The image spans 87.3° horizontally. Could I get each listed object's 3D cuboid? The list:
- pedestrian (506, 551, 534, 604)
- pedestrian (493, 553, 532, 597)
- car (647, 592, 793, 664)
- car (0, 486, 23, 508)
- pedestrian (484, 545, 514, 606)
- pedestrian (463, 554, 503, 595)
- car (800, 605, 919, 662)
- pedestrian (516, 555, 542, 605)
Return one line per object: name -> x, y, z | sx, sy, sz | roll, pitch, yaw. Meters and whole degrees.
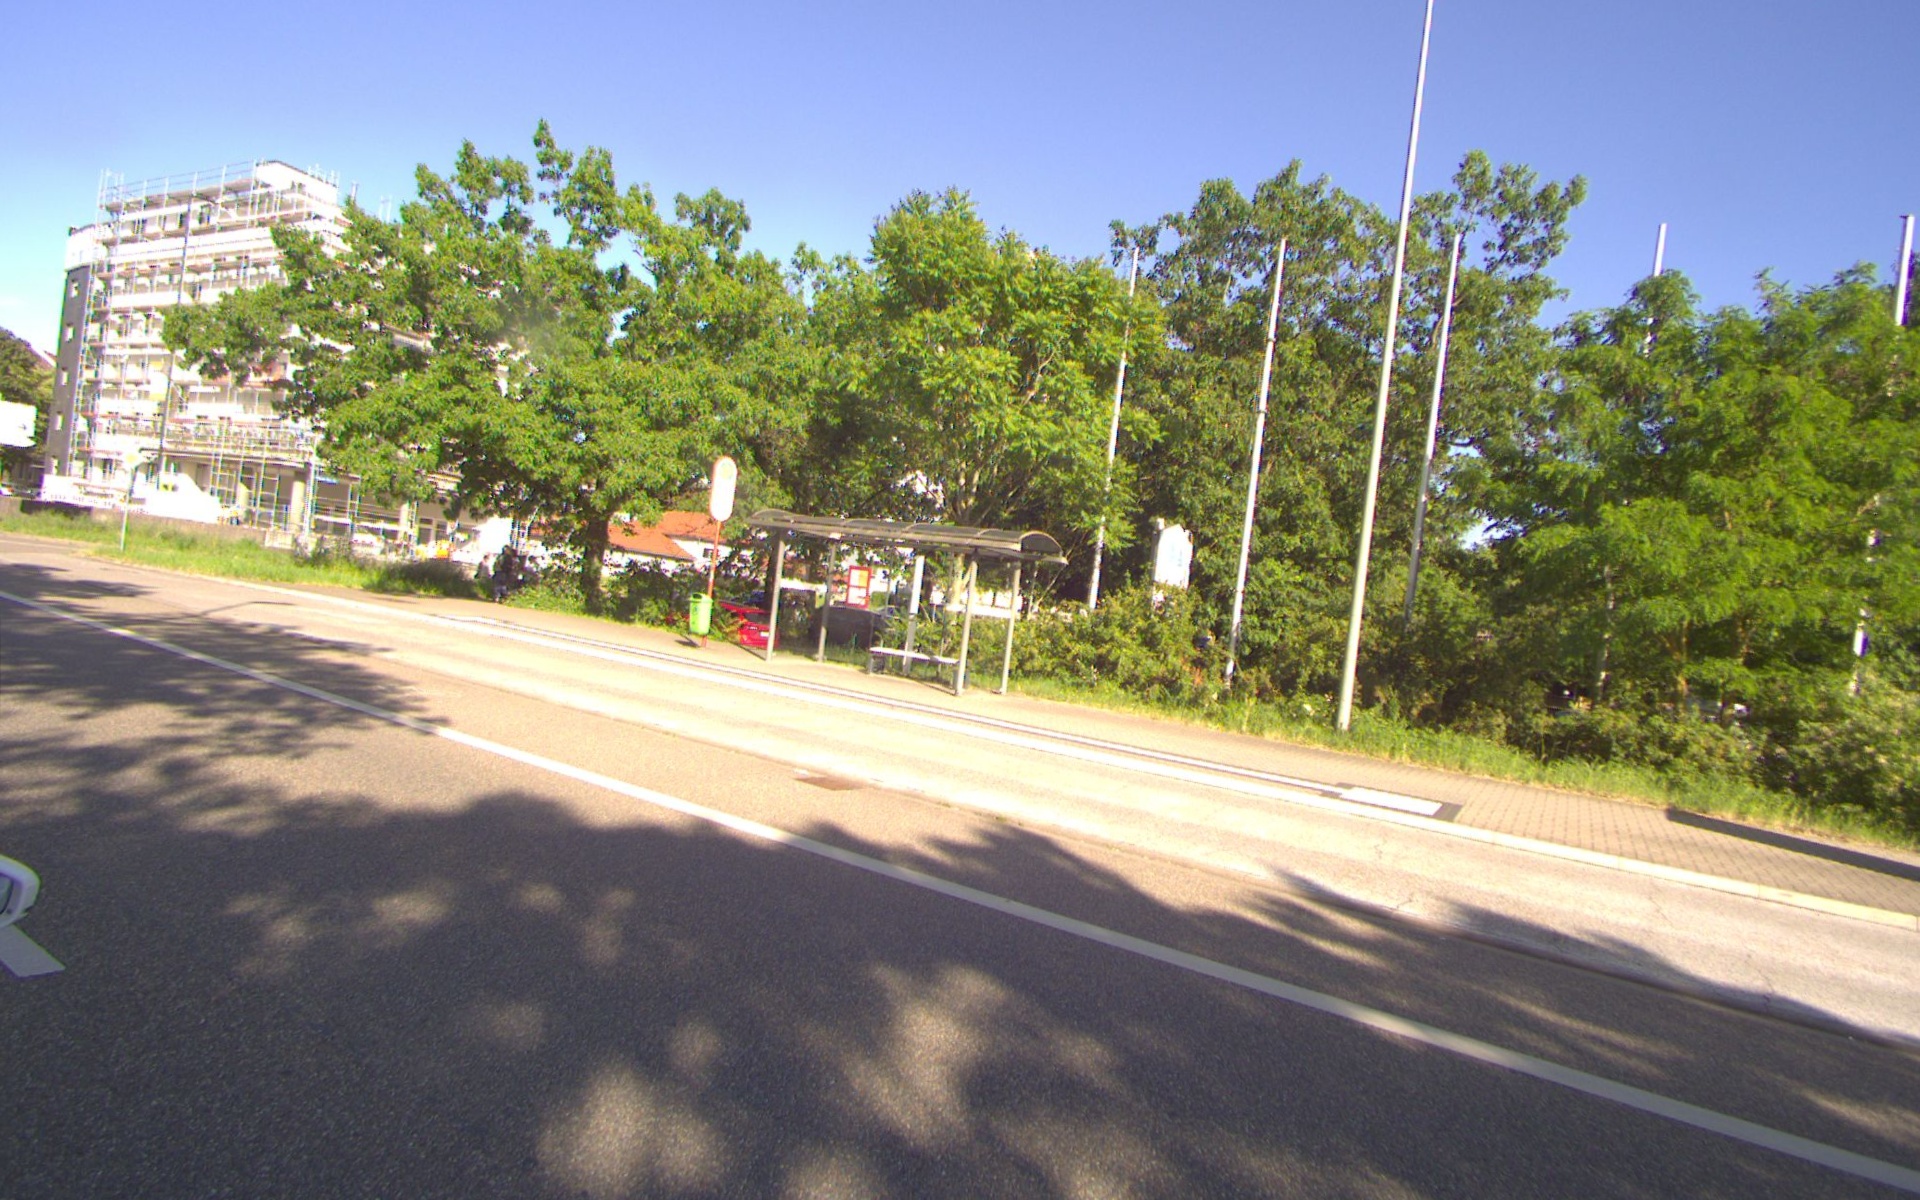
pedestrian -> -12.744, -0.647, 29.145 | 0.517, 1.465, 0.587 | 7, 1, -32
pedestrian -> -18.549, -1.038, 41.680 | 0.969, 1.674, 0.891 | 7, 0, 16
car -> -6.866, 0.797, 28.744 | 3.680, 1.504, 1.755 | 7, 0, 28
car -> -66.603, -7.207, 70.159 | 1.521, 1.330, 3.250 | 7, 0, -40
pedestrian -> -13.023, -0.699, 28.416 | 0.517, 1.632, 0.587 | 7, 1, -32
pedestrian -> -19.189, -1.026, 40.455 | 0.948, 1.465, 0.895 | 7, 0, 17
car -> -3.579, 1.183, 35.977 | 3.674, 1.504, 1.914 | 7, 0, 13
pedestrian -> -13.398, -0.630, 31.295 | 0.517, 1.465, 0.587 | 7, 1, -32
